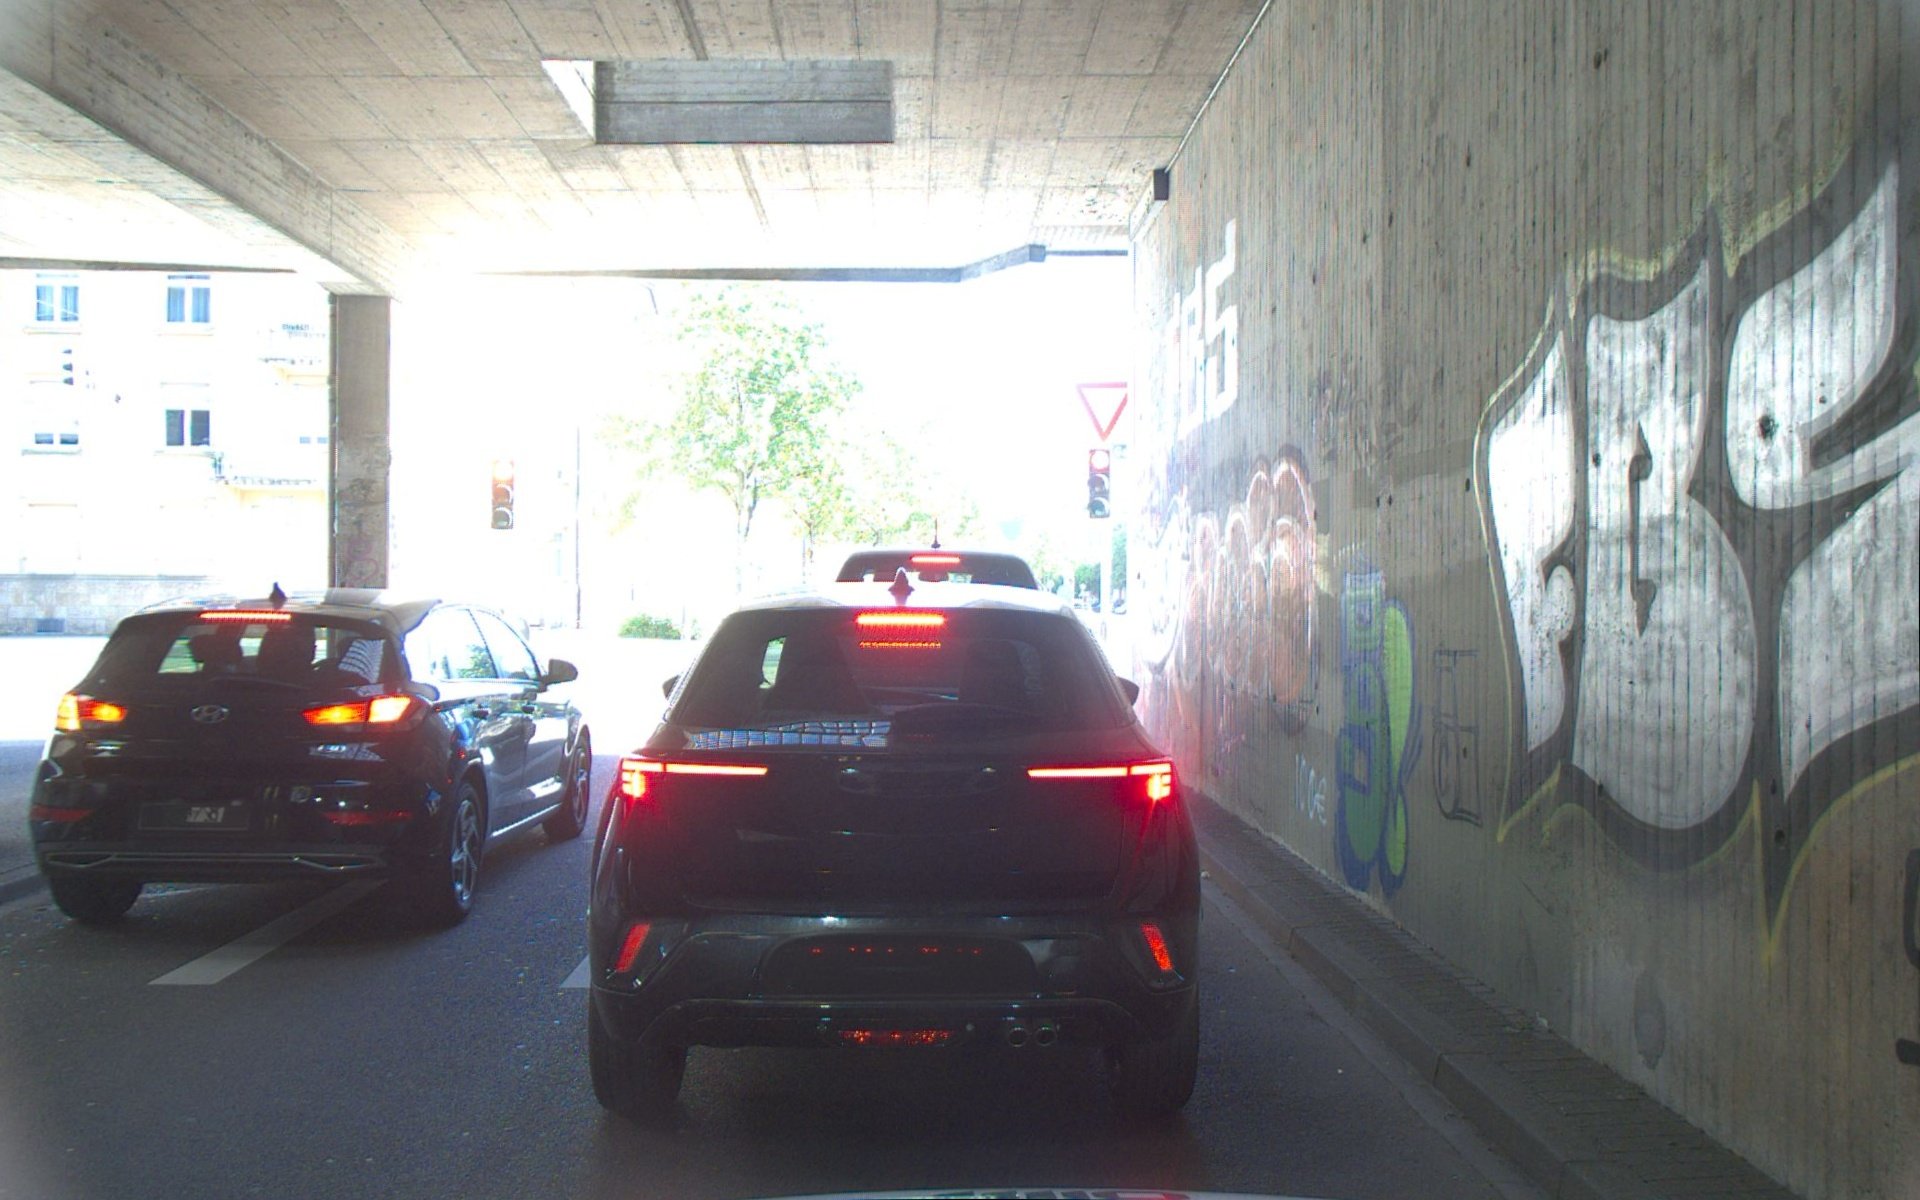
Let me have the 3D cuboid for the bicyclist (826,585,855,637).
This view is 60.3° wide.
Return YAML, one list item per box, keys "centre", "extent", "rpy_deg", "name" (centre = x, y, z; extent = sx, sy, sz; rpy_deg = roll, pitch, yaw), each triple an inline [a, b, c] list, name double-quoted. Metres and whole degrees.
- centre: [-3.767, 0.339, 52.041]
  extent: [0.713, 1.609, 0.815]
  rpy_deg: [1, -1, 9]
  name: "bicyclist"

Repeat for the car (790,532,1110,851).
- centre: [-0.087, 0.533, 11.864]
  extent: [1.906, 1.892, 3.963]
  rpy_deg: [0, 0, -1]
  name: "car"

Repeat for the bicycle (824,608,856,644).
- centre: [-3.774, 0.804, 52.046]
  extent: [0.612, 1.086, 1.690]
  rpy_deg: [1, 0, 9]
  name: "bicycle"

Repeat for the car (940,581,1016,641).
- centre: [0.503, 0.337, 44.158]
  extent: [1.927, 1.523, 3.896]
  rpy_deg: [0, -1, 1]
  name: "car"

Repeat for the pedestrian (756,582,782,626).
- centre: [-9.061, 0.188, 78.525]
  extent: [0.971, 2.049, 1.089]
  rpy_deg: [0, 0, 7]
  name: "pedestrian"

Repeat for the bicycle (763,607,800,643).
- centre: [-5.551, 0.770, 51.401]
  extent: [0.716, 1.086, 1.690]
  rpy_deg: [1, 0, 9]
  name: "bicycle"

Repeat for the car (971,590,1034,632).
- centre: [1.627, 0.443, 62.195]
  extent: [1.926, 1.523, 3.899]
  rpy_deg: [0, -1, 8]
  name: "car"

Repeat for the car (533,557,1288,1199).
- centre: [-0.146, 0.672, 6.039]
  extent: [1.844, 1.565, 3.963]
  rpy_deg: [0, 0, -1]
  name: "car"

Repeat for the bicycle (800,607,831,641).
- centre: [-4.732, 0.784, 54.394]
  extent: [0.612, 1.086, 1.690]
  rpy_deg: [1, 0, 9]
  name: "bicycle"

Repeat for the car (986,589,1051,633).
- centre: [2.472, 0.486, 69.017]
  extent: [2.173, 1.749, 4.463]
  rpy_deg: [0, -1, 9]
  name: "car"

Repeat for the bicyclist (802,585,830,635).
- centre: [-4.726, 0.332, 54.347]
  extent: [0.713, 1.609, 0.815]
  rpy_deg: [1, -1, 9]
  name: "bicyclist"

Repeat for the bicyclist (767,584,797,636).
- centre: [-5.532, 0.305, 51.434]
  extent: [0.713, 1.609, 0.815]
  rpy_deg: [1, -1, 9]
  name: "bicyclist"

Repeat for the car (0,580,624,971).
- centre: [-2.966, 0.668, 8.459]
  extent: [1.744, 1.472, 4.177]
  rpy_deg: [1, 0, -2]
  name: "car"
